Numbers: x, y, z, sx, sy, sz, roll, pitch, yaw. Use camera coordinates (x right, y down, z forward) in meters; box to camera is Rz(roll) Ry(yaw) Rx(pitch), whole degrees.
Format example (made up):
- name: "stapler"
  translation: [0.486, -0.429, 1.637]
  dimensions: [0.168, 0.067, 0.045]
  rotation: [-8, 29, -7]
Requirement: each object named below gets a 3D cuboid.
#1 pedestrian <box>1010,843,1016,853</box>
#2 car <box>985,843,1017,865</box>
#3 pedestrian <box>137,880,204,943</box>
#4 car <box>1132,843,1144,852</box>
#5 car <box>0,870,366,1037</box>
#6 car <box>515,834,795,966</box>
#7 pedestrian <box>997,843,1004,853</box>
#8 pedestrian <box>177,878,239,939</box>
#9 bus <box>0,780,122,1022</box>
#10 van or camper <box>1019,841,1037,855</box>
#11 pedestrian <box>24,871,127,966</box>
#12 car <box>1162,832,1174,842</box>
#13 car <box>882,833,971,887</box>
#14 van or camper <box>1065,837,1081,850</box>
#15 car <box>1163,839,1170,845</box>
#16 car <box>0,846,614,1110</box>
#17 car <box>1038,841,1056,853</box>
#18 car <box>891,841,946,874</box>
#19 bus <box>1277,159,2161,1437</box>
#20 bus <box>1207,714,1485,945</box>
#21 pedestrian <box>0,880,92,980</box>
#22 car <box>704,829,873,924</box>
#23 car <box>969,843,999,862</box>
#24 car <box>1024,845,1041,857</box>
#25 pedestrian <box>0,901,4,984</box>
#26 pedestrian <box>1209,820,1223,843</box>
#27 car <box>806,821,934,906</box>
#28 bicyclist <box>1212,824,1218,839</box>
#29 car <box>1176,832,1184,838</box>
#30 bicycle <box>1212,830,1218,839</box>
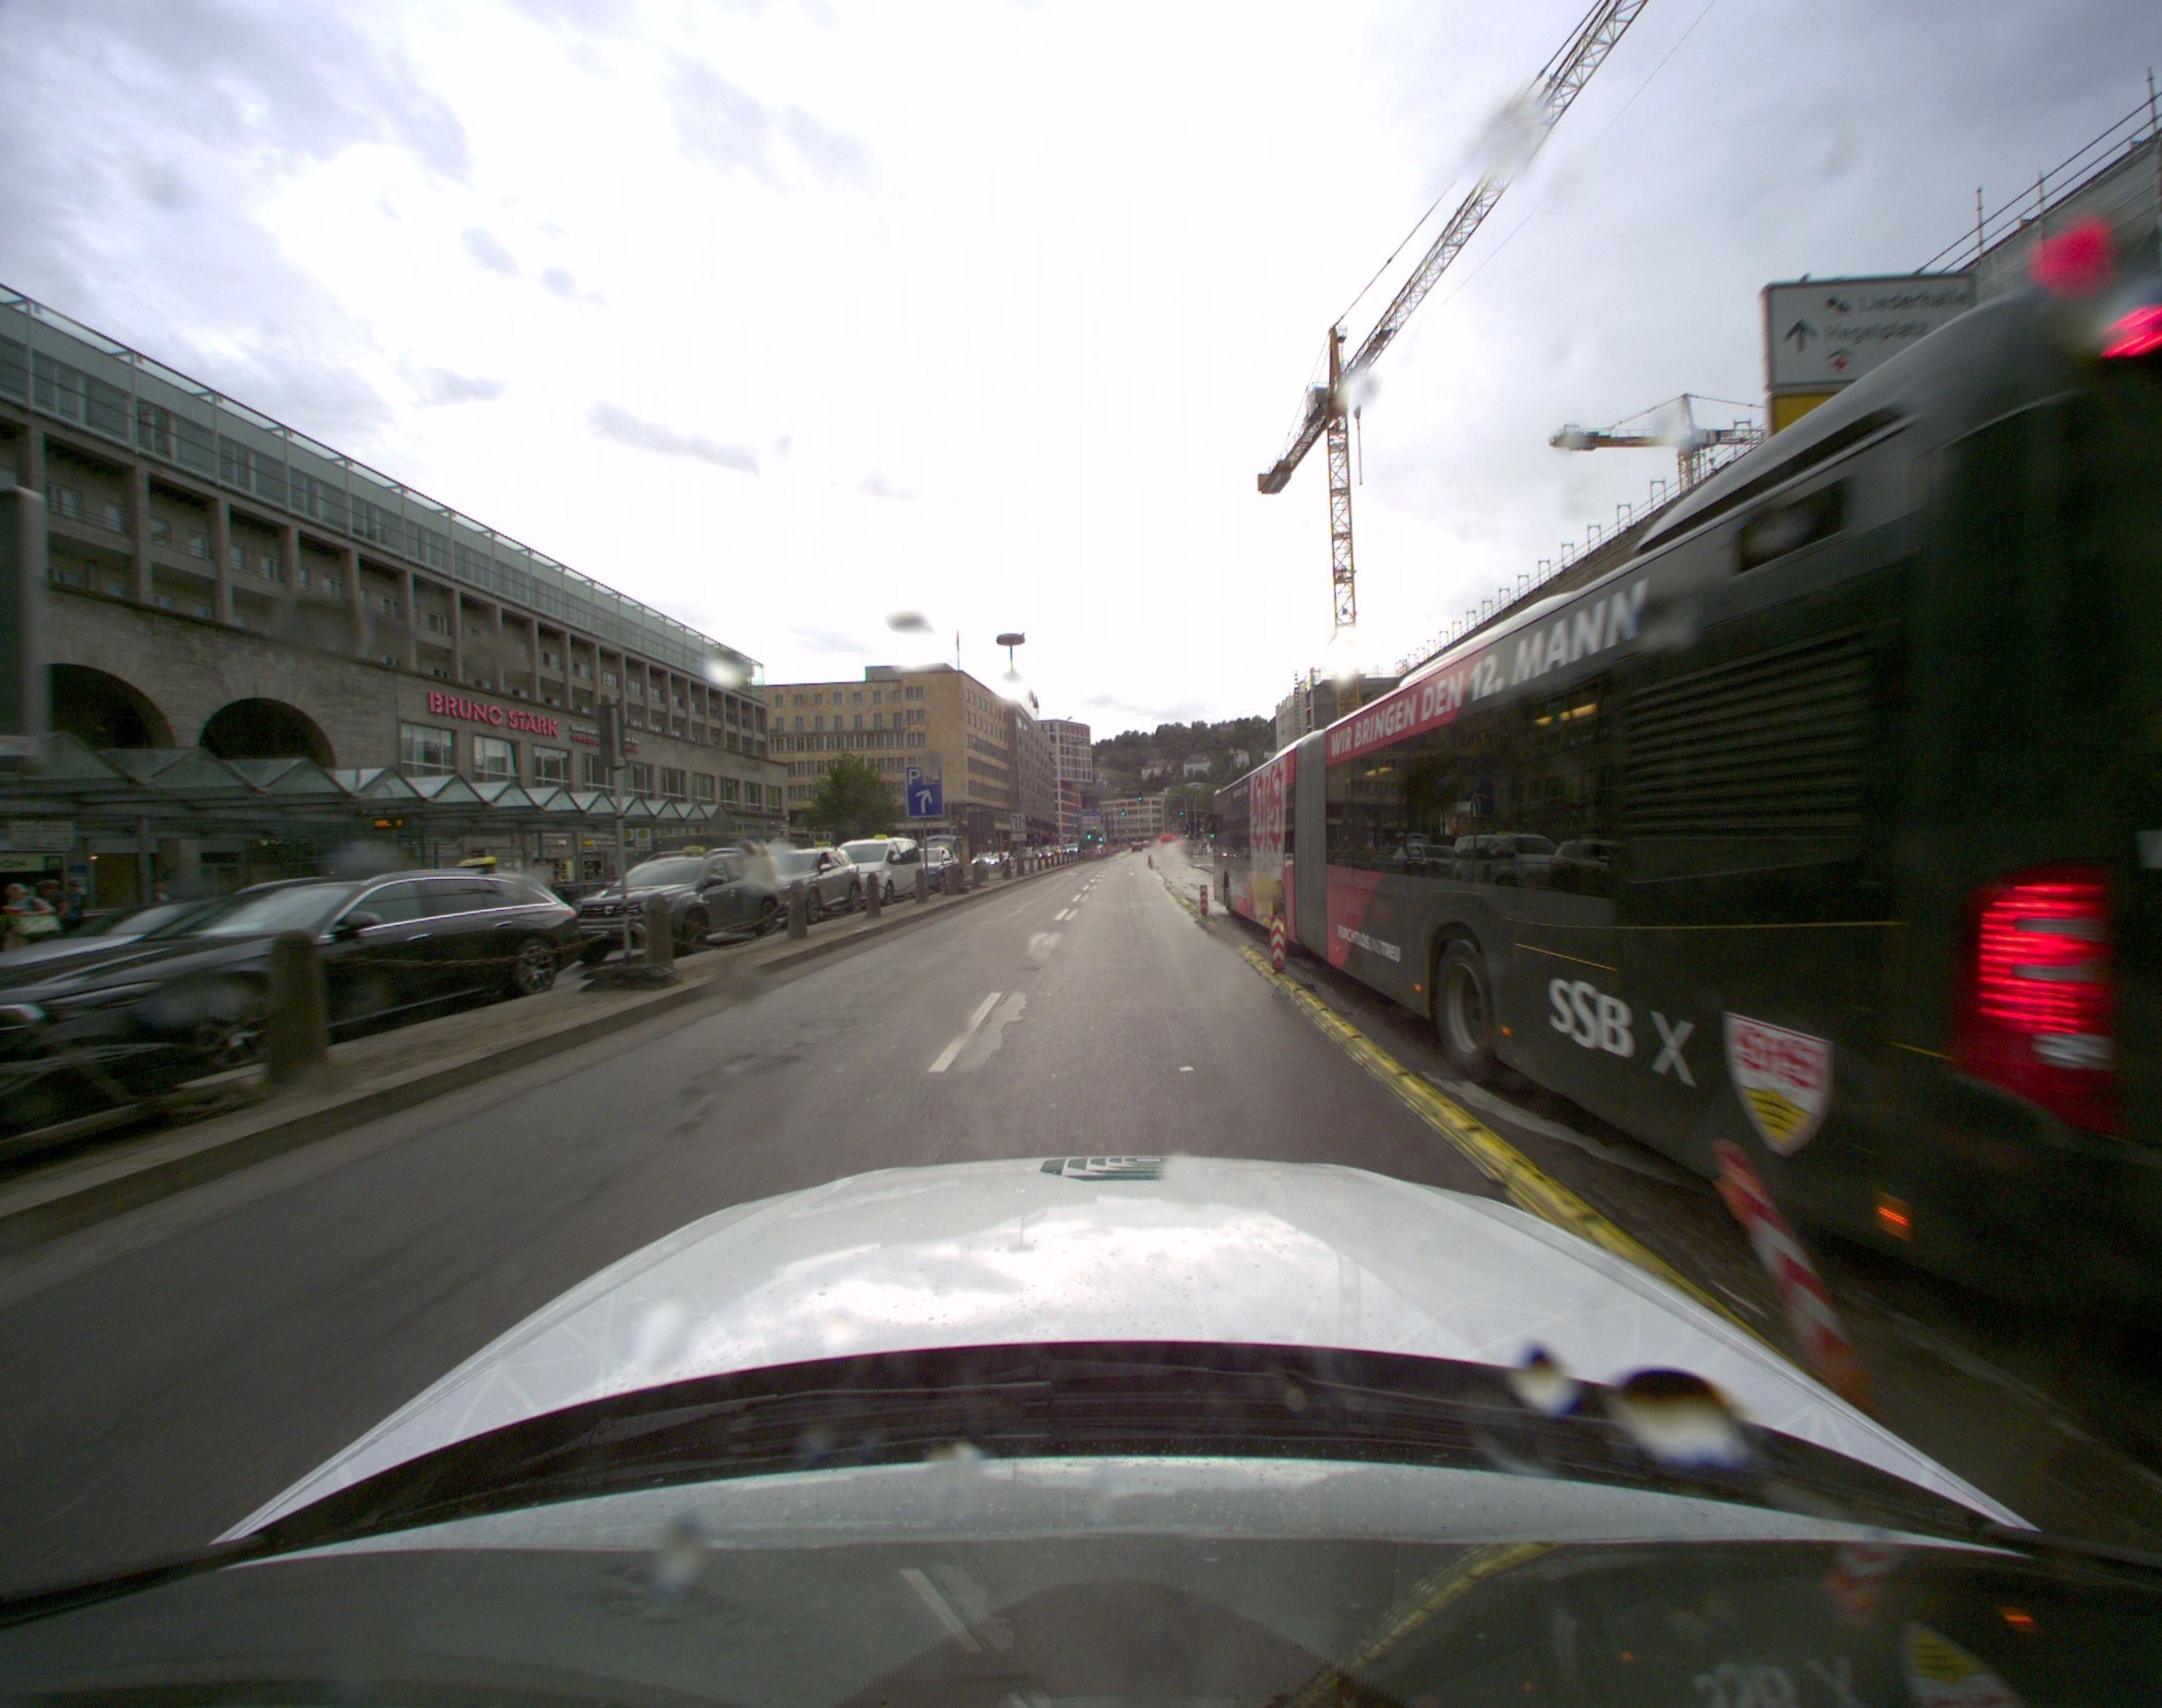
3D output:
- name: "pedestrian"
  translation: [-11.376, -0.988, 136.652]
  dimensions: [0.790, 1.526, 0.918]
  rotation: [-3, 1, 7]
- name: "car"
  translation: [-6.894, -0.014, 70.743]
  dimensions: [1.954, 1.564, 4.839]
  rotation: [-5, 2, 3]
- name: "pedestrian"
  translation: [-25.147, 1.578, 22.499]
  dimensions: [0.753, 1.655, 0.895]
  rotation: [-1, 2, 4]
- name: "car"
  translation: [10.072, -1.159, 145.158]
  dimensions: [1.985, 1.552, 4.004]
  rotation: [-3, 1, 3]
- name: "car"
  translation: [-13.470, 1.272, 12.060]
  dimensions: [1.986, 1.828, 4.121]
  rotation: [-1, 2, 1]
- name: "car"
  translation: [-6.780, 0.597, 13.762]
  dimensions: [1.923, 1.698, 4.887]
  rotation: [-4, 1, 1]
- name: "pedestrian"
  translation: [-12.514, -0.915, 126.349]
  dimensions: [0.717, 1.557, 0.907]
  rotation: [-3, 1, 7]
- name: "pedestrian"
  translation: [-25.069, 1.554, 23.398]
  dimensions: [0.753, 1.655, 0.895]
  rotation: [-1, 2, 4]
- name: "bus"
  translation: [-17.105, 0.830, 7.768]
  dimensions: [2.865, 3.459, 10.583]
  rotation: [-2, 1, 3]
- name: "van or camper"
  translation: [-8.250, -0.992, 127.806]
  dimensions: [1.984, 2.013, 4.973]
  rotation: [-2, 1, 5]
- name: "pedestrian"
  translation: [-20.540, 1.294, 16.665]
  dimensions: [0.736, 1.808, 1.027]
  rotation: [-1, 2, 4]
- name: "car"
  translation: [16.062, -3.067, 149.830]
  dimensions: [1.984, 1.705, 4.005]
  rotation: [-3, 1, 4]
- name: "car"
  translation: [-5.572, 0.140, 30.087]
  dimensions: [1.985, 1.722, 4.788]
  rotation: [-3, 1, 4]
- name: "van or camper"
  translation: [-1.345, -1.818, 134.944]
  dimensions: [1.983, 2.013, 5.198]
  rotation: [-2, 1, 6]
- name: "car"
  translation: [21.693, -3.058, 206.438]
  dimensions: [1.811, 1.442, 4.005]
  rotation: [-1, 2, 4]
- name: "car"
  translation: [-6.920, 0.797, 7.659]
  dimensions: [1.923, 1.576, 5.054]
  rotation: [-4, 1, 1]
- name: "car"
  translation: [-5.139, -1.052, 122.971]
  dimensions: [1.983, 1.616, 4.987]
  rotation: [-3, 1, 6]
- name: "car"
  translation: [-8.453, 0.155, 42.637]
  dimensions: [1.987, 1.552, 4.000]
  rotation: [-3, 1, 0]
- name: "bus"
  translation: [3.827, -0.224, 6.459]
  dimensions: [2.744, 3.068, 9.088]
  rotation: [-1, 1, 3]
- name: "bus"
  translation: [4.281, -0.409, 15.512]
  dimensions: [2.744, 3.065, 9.001]
  rotation: [-1, 1, 3]
- name: "pedestrian"
  translation: [-18.837, 1.339, 14.658]
  dimensions: [0.736, 1.666, 1.027]
  rotation: [-1, 2, 4]
- name: "car"
  translation: [-6.564, 0.418, 18.940]
  dimensions: [1.921, 1.806, 4.587]
  rotation: [-4, 1, 3]
- name: "car"
  translation: [-9.366, -0.163, 79.183]
  dimensions: [1.954, 1.564, 4.839]
  rotation: [-5, 2, 3]
- name: "car"
  translation: [-7.946, -0.511, 133.939]
  dimensions: [1.983, 1.837, 4.007]
  rotation: [-2, 1, 6]
- name: "pedestrian"
  translation: [-19.054, 1.414, 13.710]
  dimensions: [0.621, 1.725, 0.857]
  rotation: [-1, 1, 3]
- name: "pedestrian"
  translation: [10.172, -1.675, 61.562]
  dimensions: [0.704, 1.679, 0.718]
  rotation: [-3, 1, -23]
- name: "car"
  translation: [-6.163, 0.180, 24.571]
  dimensions: [1.985, 2.178, 5.550]
  rotation: [-3, 1, 4]
- name: "bicyclist"
  translation: [16.901, -2.884, 102.852]
  dimensions: [0.699, 1.844, 0.971]
  rotation: [-2, 1, 10]
- name: "car"
  translation: [27.264, -5.316, 225.006]
  dimensions: [1.985, 1.442, 4.005]
  rotation: [-1, 2, 4]
- name: "bicycle"
  translation: [16.909, -2.469, 102.855]
  dimensions: [0.703, 1.049, 1.812]
  rotation: [-1, 2, 10]
